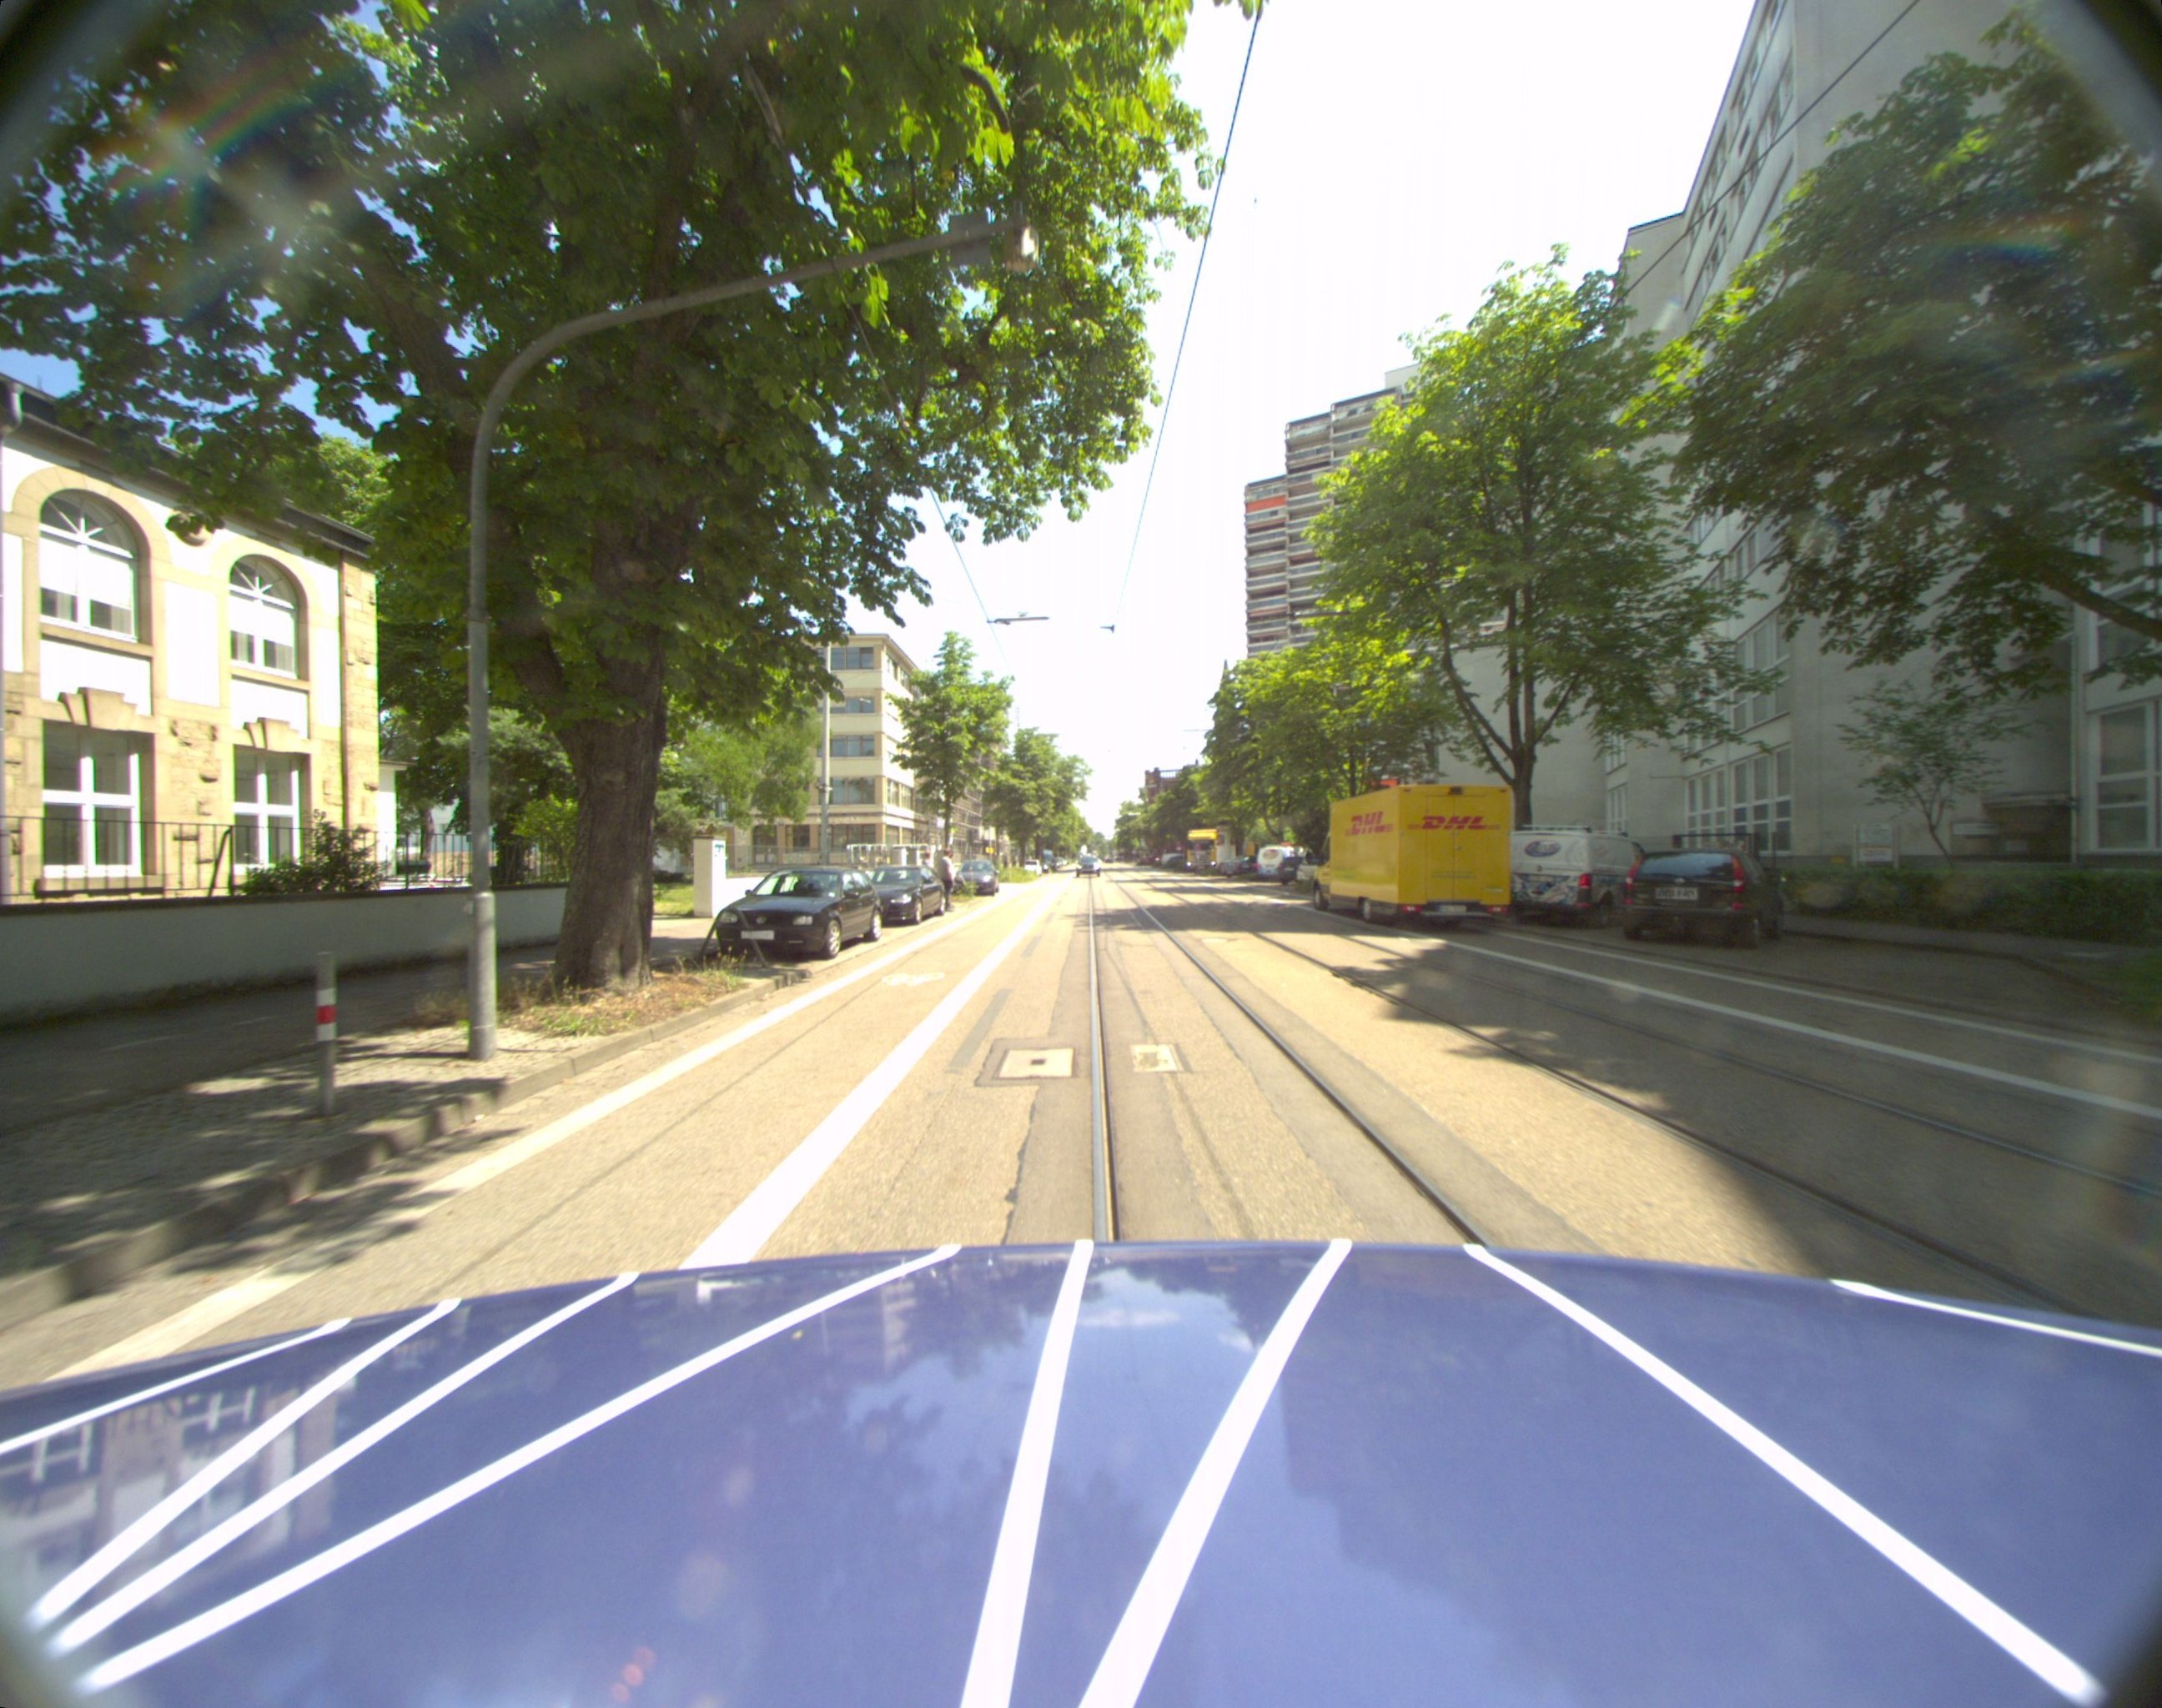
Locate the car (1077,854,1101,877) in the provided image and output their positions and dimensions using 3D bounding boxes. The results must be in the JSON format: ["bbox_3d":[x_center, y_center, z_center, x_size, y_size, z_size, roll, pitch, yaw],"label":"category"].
[{"bbox_3d":[0.629,0.865,58.124,1.752,1.641,4.298,-2,0,1],"label":"car"}]

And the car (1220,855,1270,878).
[{"bbox_3d":[11.366,0.836,52.530,1.678,1.445,3.682,0,0,45],"label":"car"}]

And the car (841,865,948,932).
[{"bbox_3d":[-4.553,1.038,19.101,1.626,1.395,4.000,2,0,1],"label":"car"}]

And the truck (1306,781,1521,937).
[{"bbox_3d":[7.227,0.094,17.555,2.306,2.903,6.516,-1,0,2],"label":"truck"}]

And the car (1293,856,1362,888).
[{"bbox_3d":[11.909,0.821,36.619,1.678,1.445,3.682,0,0,45],"label":"car"}]

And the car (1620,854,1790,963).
[{"bbox_3d":[10.758,0.802,13.019,3.692,1.566,1.678,-1,1,-42],"label":"car"}]

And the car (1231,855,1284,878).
[{"bbox_3d":[11.581,0.798,49.643,1.678,1.411,3.682,0,0,45],"label":"car"}]

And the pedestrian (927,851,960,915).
[{"bbox_3d":[-4.019,0.836,22.234,0.645,1.839,0.741,0,1,18],"label":"pedestrian"}]

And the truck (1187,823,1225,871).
[{"bbox_3d":[11.942,-0.613,71.794,2.672,4.155,10.484,-1,0,14],"label":"truck"}]

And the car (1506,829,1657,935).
[{"bbox_3d":[10.912,0.515,16.457,4.061,2.030,1.598,-1,0,-40],"label":"car"}]

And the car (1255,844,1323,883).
[{"bbox_3d":[11.751,0.488,42.749,1.873,2.095,4.596,0,0,42],"label":"car"}]

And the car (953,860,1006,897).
[{"bbox_3d":[-4.178,0.981,31.849,1.626,1.395,4.000,2,0,1],"label":"car"}]

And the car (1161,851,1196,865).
[{"bbox_3d":[13.090,0.553,101.888,4.337,1.797,1.995,-1,0,-32],"label":"car"}]

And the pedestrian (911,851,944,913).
[{"bbox_3d":[-4.595,0.826,22.759,0.645,1.839,0.741,0,1,27],"label":"pedestrian"}]

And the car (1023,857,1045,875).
[{"bbox_3d":[-4.067,1.019,66.039,1.626,1.395,4.000,2,0,1],"label":"car"}]

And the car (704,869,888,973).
[{"bbox_3d":[-4.644,1.015,12.990,1.626,1.395,3.823,2,0,1],"label":"car"}]

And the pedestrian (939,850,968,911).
[{"bbox_3d":[-3.967,0.811,23.588,0.741,1.839,0.645,-1,1,-23],"label":"pedestrian"}]

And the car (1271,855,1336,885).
[{"bbox_3d":[11.603,0.817,39.464,1.678,1.445,3.682,0,0,45],"label":"car"}]
